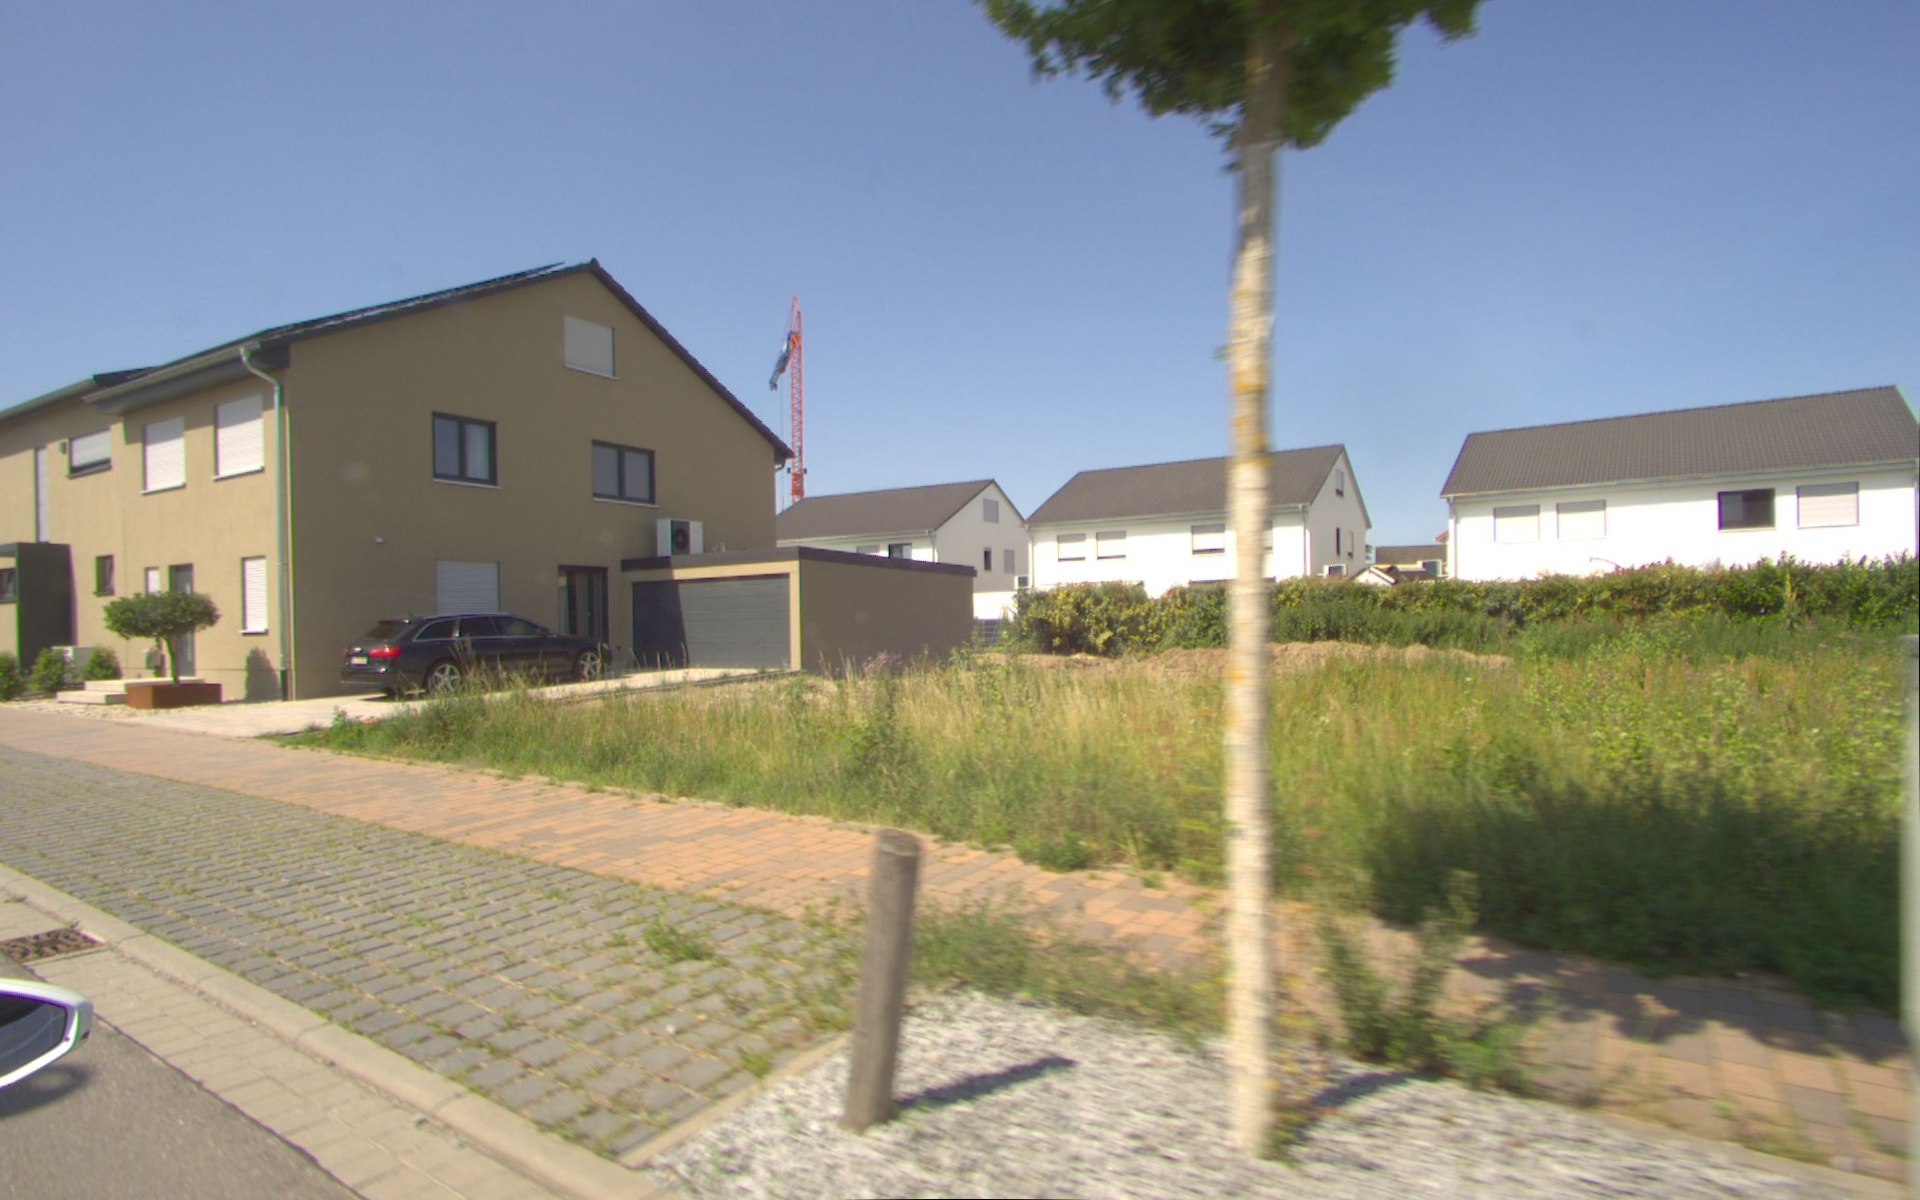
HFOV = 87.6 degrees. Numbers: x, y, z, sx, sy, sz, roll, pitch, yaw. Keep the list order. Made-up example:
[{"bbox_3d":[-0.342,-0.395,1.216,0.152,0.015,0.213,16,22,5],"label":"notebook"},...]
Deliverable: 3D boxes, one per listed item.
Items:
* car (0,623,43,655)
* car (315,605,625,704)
[{"bbox_3d":[-45.865,1.854,46.740,1.852,1.454,4.158,-2,-1,25],"label":"car"},{"bbox_3d":[-8.920,0.897,18.727,1.972,1.445,4.874,-1,1,33],"label":"car"}]
